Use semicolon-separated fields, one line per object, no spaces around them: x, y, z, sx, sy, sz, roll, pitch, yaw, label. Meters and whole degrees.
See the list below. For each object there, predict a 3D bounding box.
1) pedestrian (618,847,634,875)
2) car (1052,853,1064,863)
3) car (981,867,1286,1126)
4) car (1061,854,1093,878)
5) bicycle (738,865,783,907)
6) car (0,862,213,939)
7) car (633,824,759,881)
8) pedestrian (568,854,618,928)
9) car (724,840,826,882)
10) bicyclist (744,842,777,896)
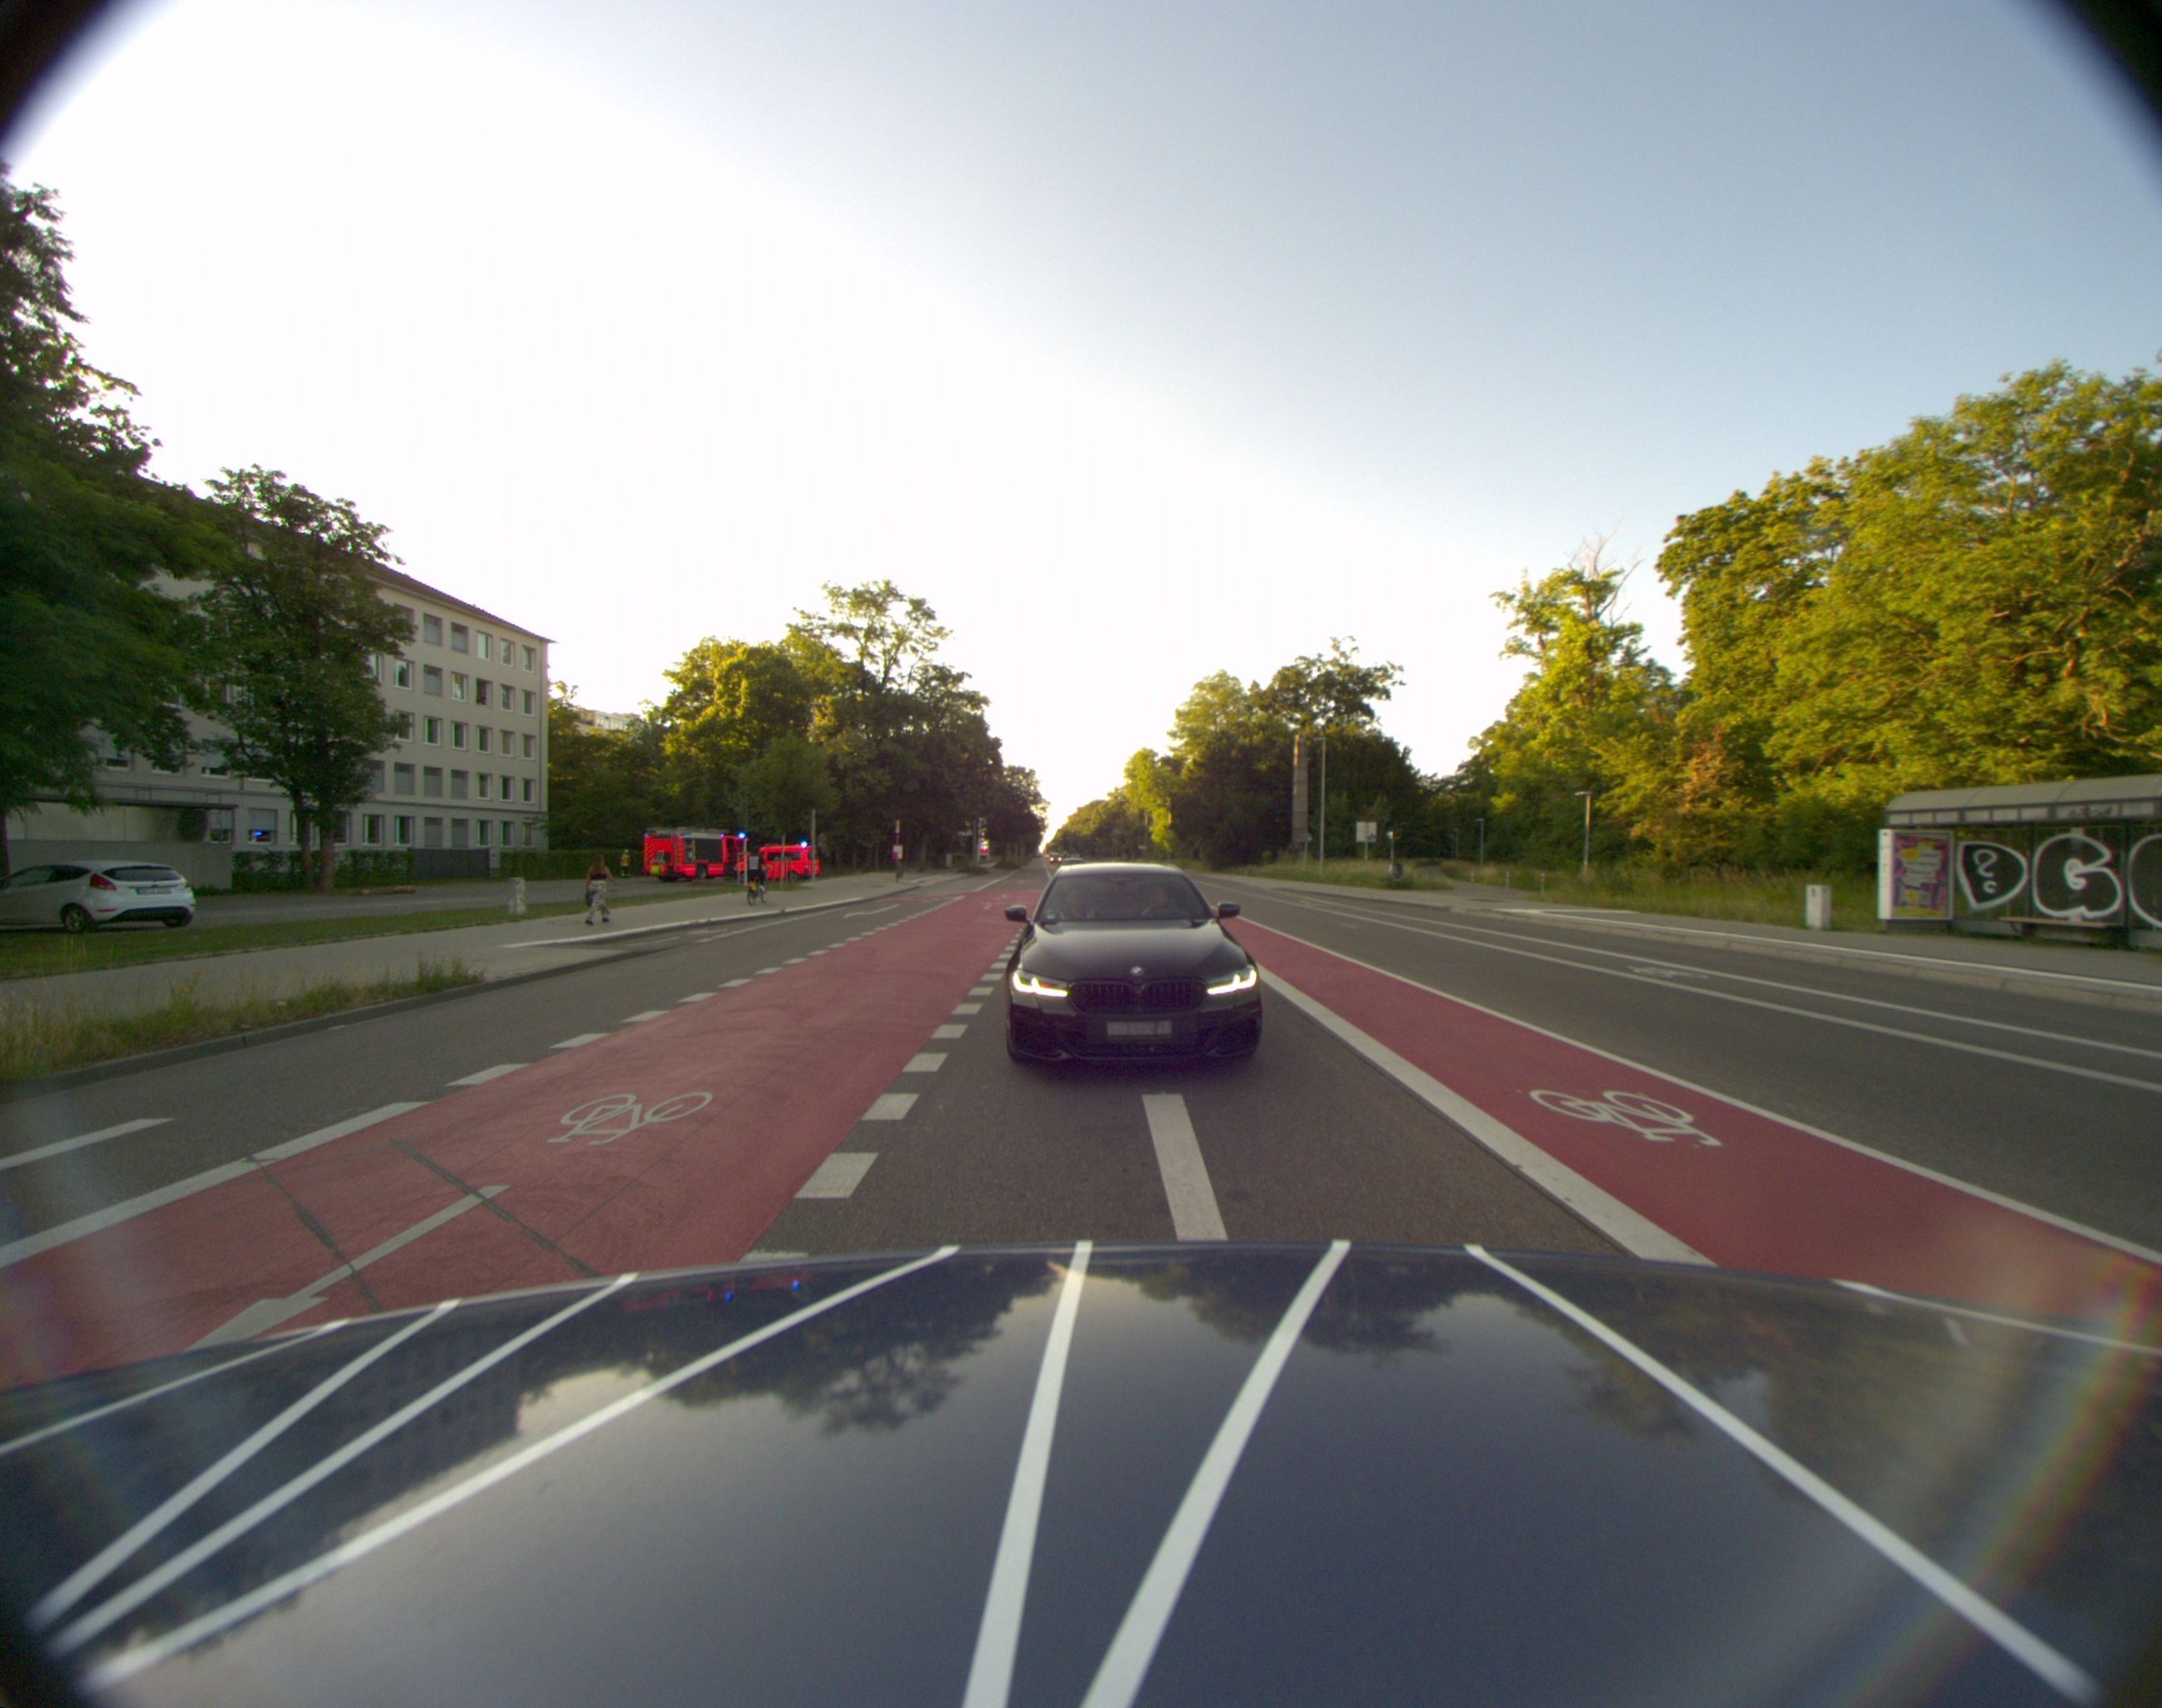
-29.617;0.457;49.449;0.847;1.831;0.681;0;0;-28;pedestrian
-3.784;0.668;124.256;1.850;1.473;4.702;-2;0;-2;car
0.276;0.914;7.243;1.818;1.391;5.212;-2;0;-1;car
-0.269;0.705;47.620;1.850;1.346;4.702;-2;0;-1;car
-9.932;0.970;23.636;0.571;1.233;1.899;0;1;1;bicycle
-20.818;0.924;15.879;3.662;1.451;1.665;0;1;5;car
-23.620;-0.136;47.237;2.770;3.225;8.301;0;0;7;car
-10.855;0.809;16.916;0.682;1.613;0.688;0;0;1;pedestrian
-17.940;0.395;44.708;5.164;2.379;2.000;0;1;3;car
-9.932;0.452;23.552;0.571;1.623;1.038;0;1;1;bicyclist
